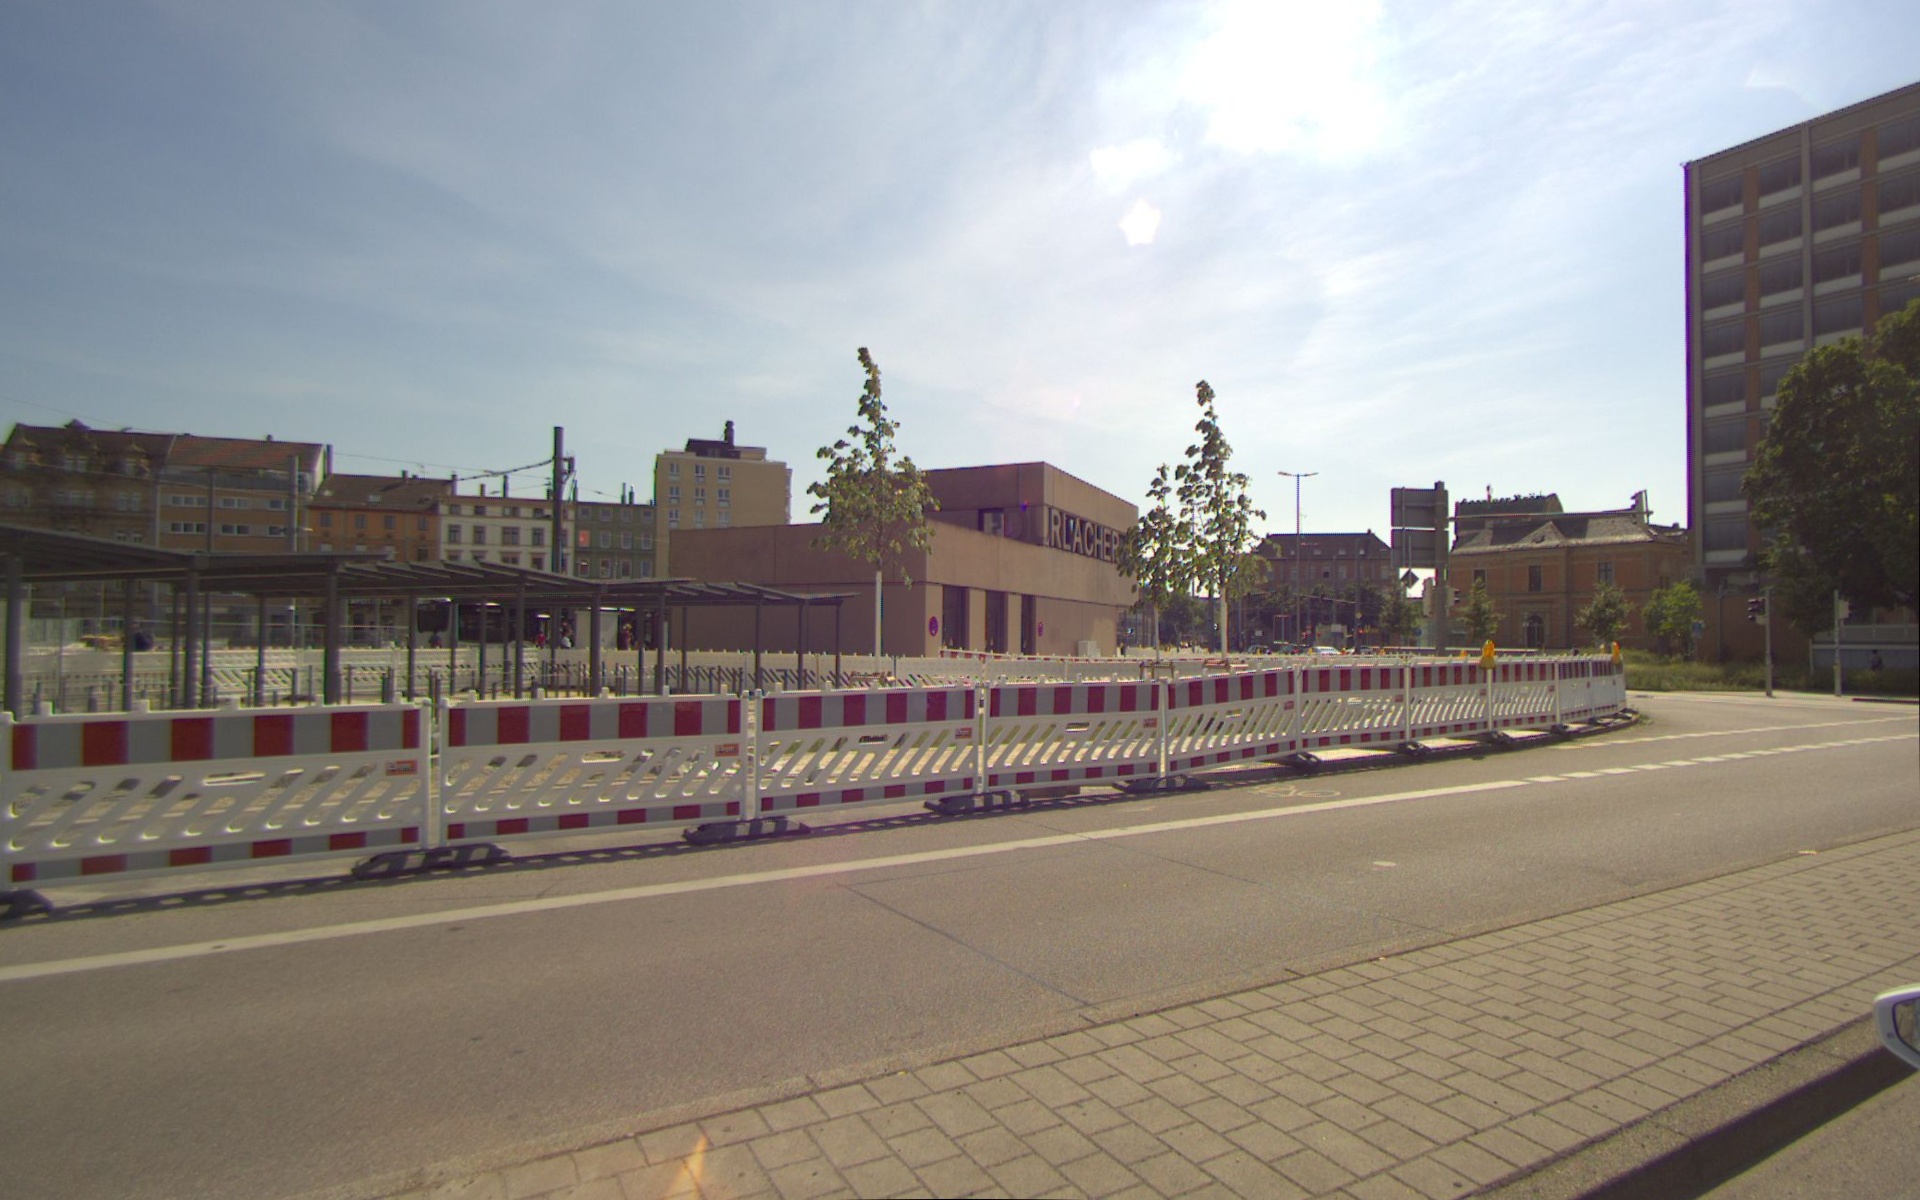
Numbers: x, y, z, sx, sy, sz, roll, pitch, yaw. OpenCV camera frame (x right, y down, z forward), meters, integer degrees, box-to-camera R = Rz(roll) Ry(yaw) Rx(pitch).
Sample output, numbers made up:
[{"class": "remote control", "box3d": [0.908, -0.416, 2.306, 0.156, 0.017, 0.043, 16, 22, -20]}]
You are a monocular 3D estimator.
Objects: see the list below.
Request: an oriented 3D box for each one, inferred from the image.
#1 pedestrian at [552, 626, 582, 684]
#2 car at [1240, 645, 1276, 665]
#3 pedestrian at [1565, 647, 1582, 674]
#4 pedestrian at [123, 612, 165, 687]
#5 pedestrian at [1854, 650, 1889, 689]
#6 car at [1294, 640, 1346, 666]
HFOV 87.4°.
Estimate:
[{"class": "pedestrian", "box3d": [-11.098, 1.553, 28.342, 0.610, 1.602, 0.567, 2, -3, -42]}, {"class": "car", "box3d": [23.749, 4.358, 80.227, 1.764, 1.530, 4.001, 1, -2, 1]}, {"class": "pedestrian", "box3d": [39.902, 3.940, 65.291, 0.637, 1.683, 0.650, 2, 0, -3]}, {"class": "pedestrian", "box3d": [-22.706, 1.378, 27.957, 0.807, 2.040, 0.684, -1, -3, 35]}, {"class": "pedestrian", "box3d": [41.540, 3.167, 45.769, 0.857, 1.748, 0.799, 1, -2, -7]}, {"class": "car", "box3d": [26.017, 3.815, 72.720, 1.963, 1.839, 3.996, 1, -2, -7]}]
